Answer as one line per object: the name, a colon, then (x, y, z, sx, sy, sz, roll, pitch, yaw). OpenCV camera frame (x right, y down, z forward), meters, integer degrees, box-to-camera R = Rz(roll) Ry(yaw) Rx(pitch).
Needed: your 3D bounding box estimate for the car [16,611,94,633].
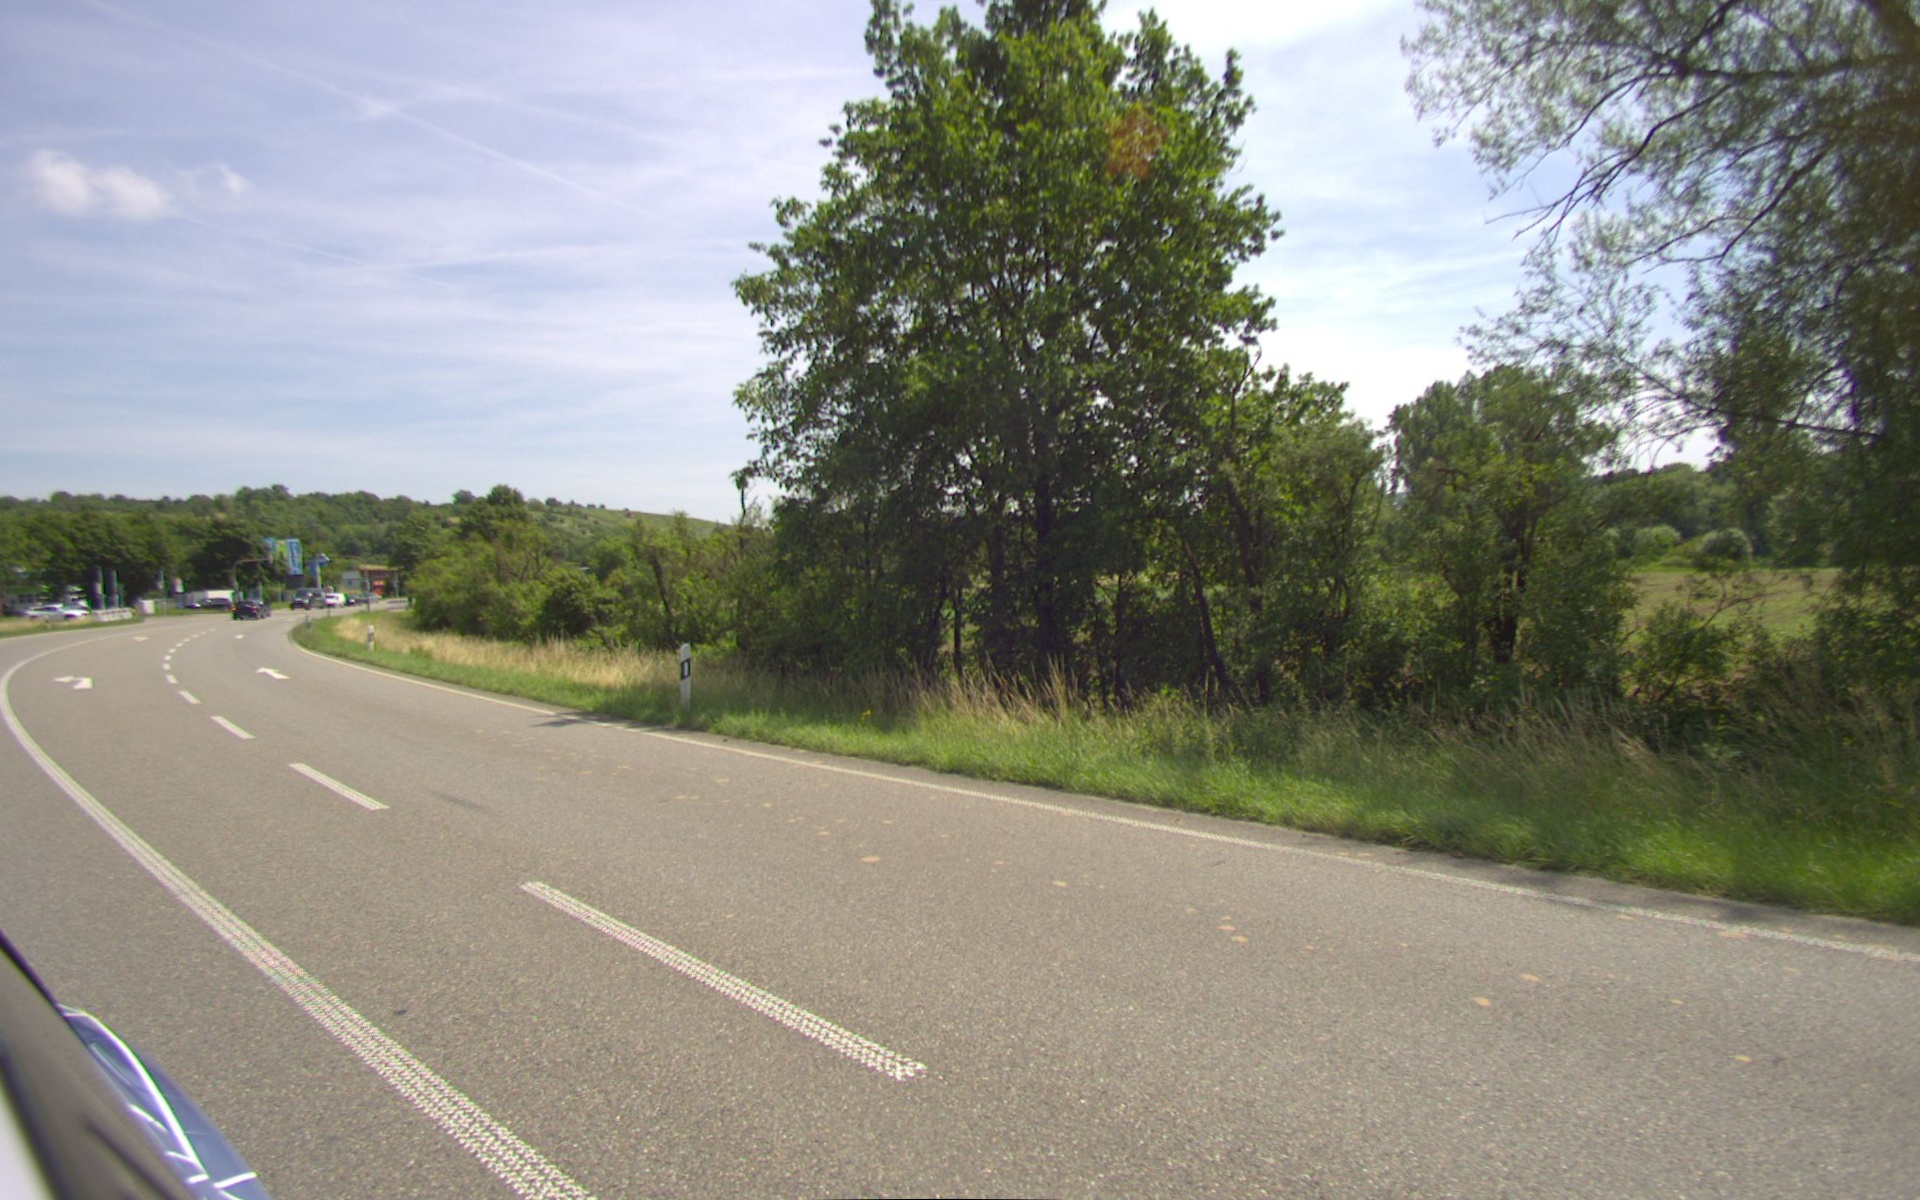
car: (-78.679, 1.881, 88.045, 4.562, 1.619, 2.005, -2, 2, -18)

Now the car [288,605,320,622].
car: (-76.937, 1.552, 118.718, 1.780, 1.745, 4.011, -2, 3, -13)

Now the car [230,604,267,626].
car: (-59.799, 1.266, 85.137, 1.746, 1.671, 4.013, -1, 1, -23)

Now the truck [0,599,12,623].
truck: (-112.410, 1.380, 115.488, 2.237, 2.637, 6.134, -2, 2, 8)

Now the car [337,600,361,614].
car: (-81.246, 0.960, 134.690, 1.779, 1.745, 4.012, -2, 1, -17)

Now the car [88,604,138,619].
car: (-106.817, 1.441, 127.686, 1.978, 1.633, 4.617, 0, 2, 9)
